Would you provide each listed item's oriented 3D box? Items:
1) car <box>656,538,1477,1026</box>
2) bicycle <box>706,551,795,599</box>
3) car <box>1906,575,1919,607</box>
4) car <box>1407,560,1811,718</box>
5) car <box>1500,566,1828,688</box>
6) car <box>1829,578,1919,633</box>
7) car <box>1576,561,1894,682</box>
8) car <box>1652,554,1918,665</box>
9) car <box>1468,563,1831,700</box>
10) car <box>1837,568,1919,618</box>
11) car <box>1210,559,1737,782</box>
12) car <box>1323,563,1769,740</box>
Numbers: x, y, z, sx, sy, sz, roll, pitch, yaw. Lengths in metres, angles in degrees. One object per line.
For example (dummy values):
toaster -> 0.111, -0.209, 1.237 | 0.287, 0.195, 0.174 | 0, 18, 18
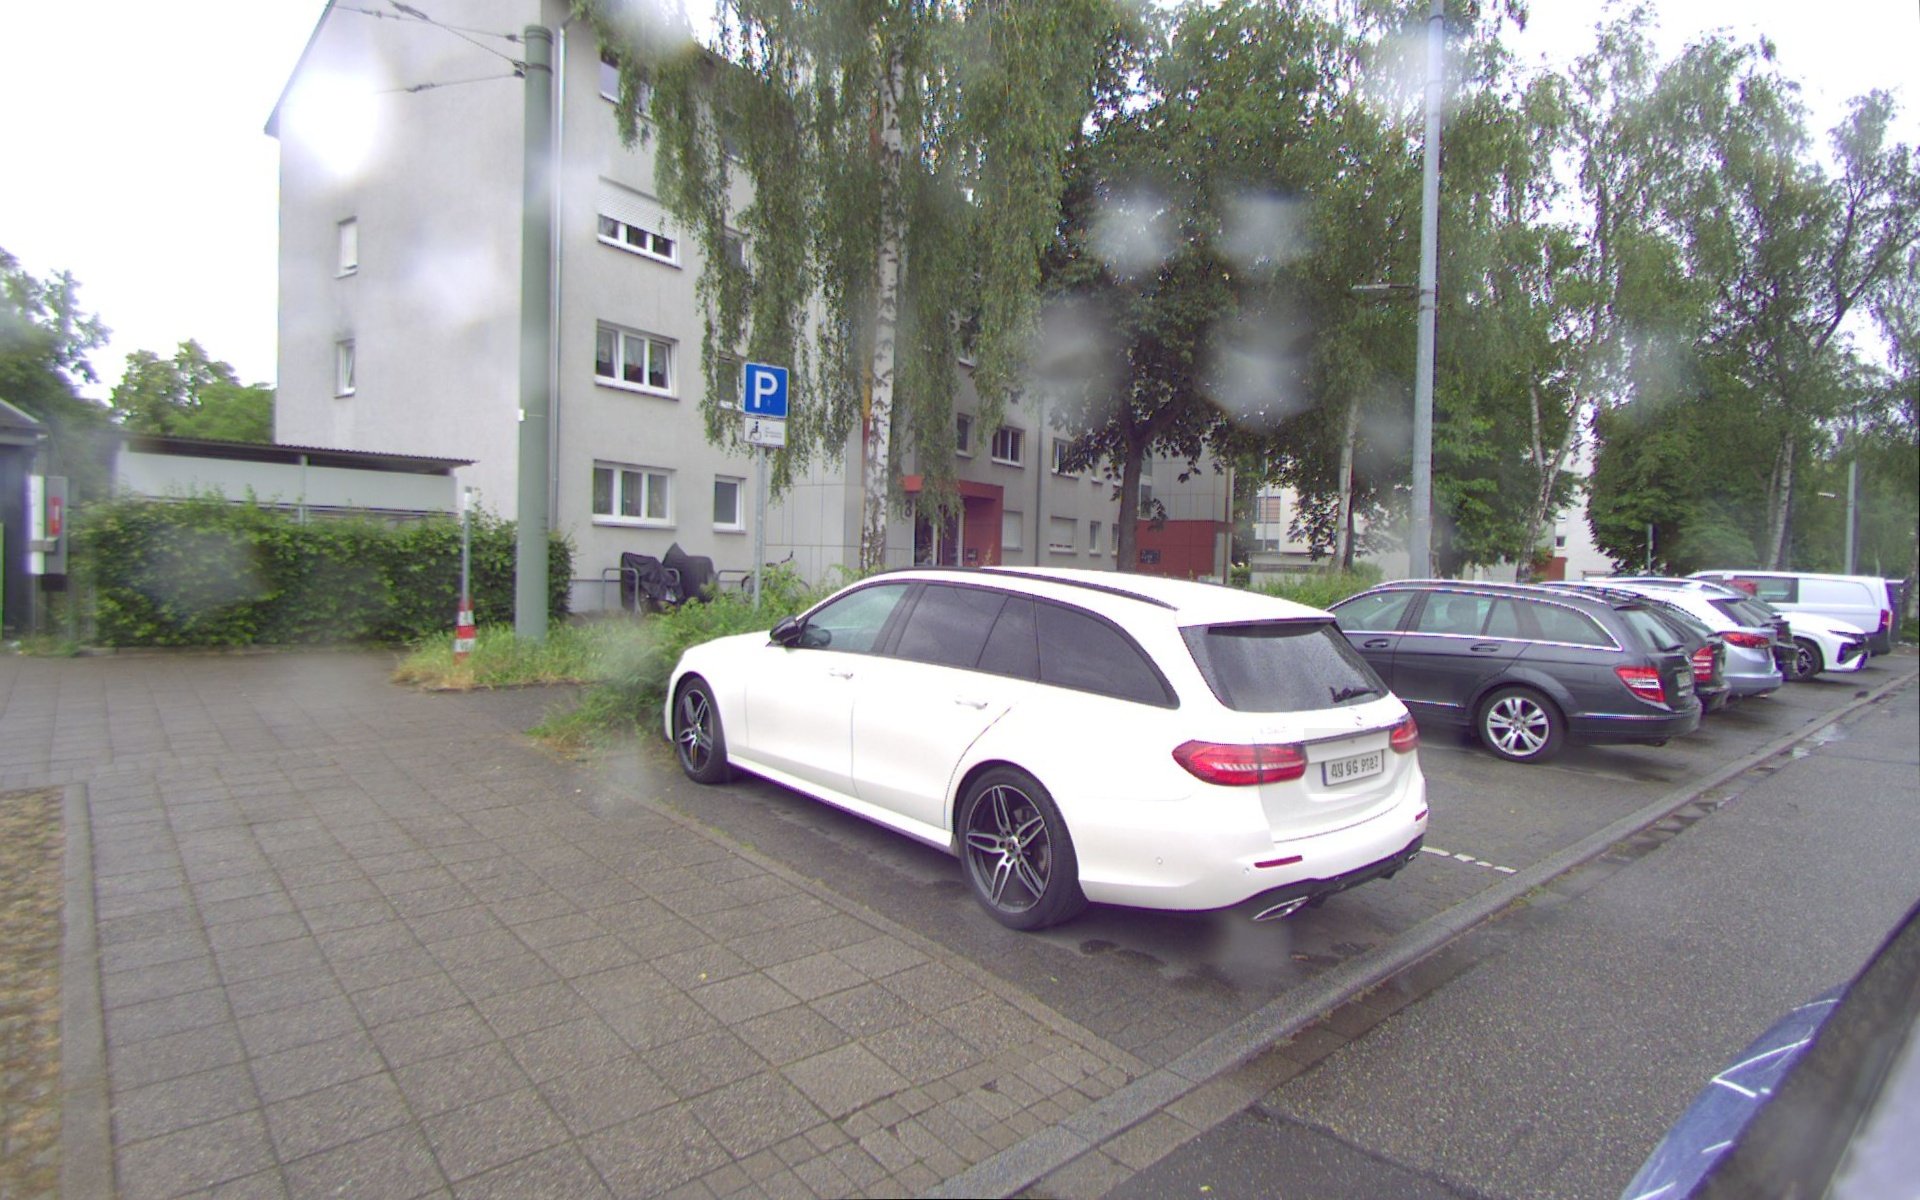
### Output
car -> 0.081, 0.483, 5.600 | 1.651, 1.456, 4.623 | -1, 5, -40
bicycle -> -4.524, -0.535, 21.972 | 0.701, 1.005, 1.918 | 0, 1, 37
car -> 53.222, -0.478, 53.804 | 1.866, 1.701, 3.998 | -1, 1, -36
car -> 8.167, 0.358, 13.030 | 1.653, 1.514, 4.044 | -1, 5, -43
car -> 11.257, 0.323, 16.395 | 1.653, 1.514, 4.044 | -1, 5, -43
car -> 34.486, 0.177, 36.849 | 1.866, 1.937, 3.998 | -1, 1, -36
car -> 13.713, 0.272, 18.145 | 1.651, 1.637, 4.182 | -1, 6, -40
car -> 17.534, 0.106, 21.672 | 4.172, 1.888, 1.654 | 7, 6, 43
car -> 9.860, 0.326, 14.707 | 1.653, 1.514, 4.044 | -1, 5, -43
car -> 37.809, -0.298, 40.364 | 1.866, 1.937, 3.998 | -1, 1, -36
car -> 4.581, 0.452, 9.507 | 1.653, 1.456, 4.044 | -1, 5, -43
car -> 6.469, 0.416, 11.531 | 1.653, 1.456, 4.044 | -1, 5, -43
